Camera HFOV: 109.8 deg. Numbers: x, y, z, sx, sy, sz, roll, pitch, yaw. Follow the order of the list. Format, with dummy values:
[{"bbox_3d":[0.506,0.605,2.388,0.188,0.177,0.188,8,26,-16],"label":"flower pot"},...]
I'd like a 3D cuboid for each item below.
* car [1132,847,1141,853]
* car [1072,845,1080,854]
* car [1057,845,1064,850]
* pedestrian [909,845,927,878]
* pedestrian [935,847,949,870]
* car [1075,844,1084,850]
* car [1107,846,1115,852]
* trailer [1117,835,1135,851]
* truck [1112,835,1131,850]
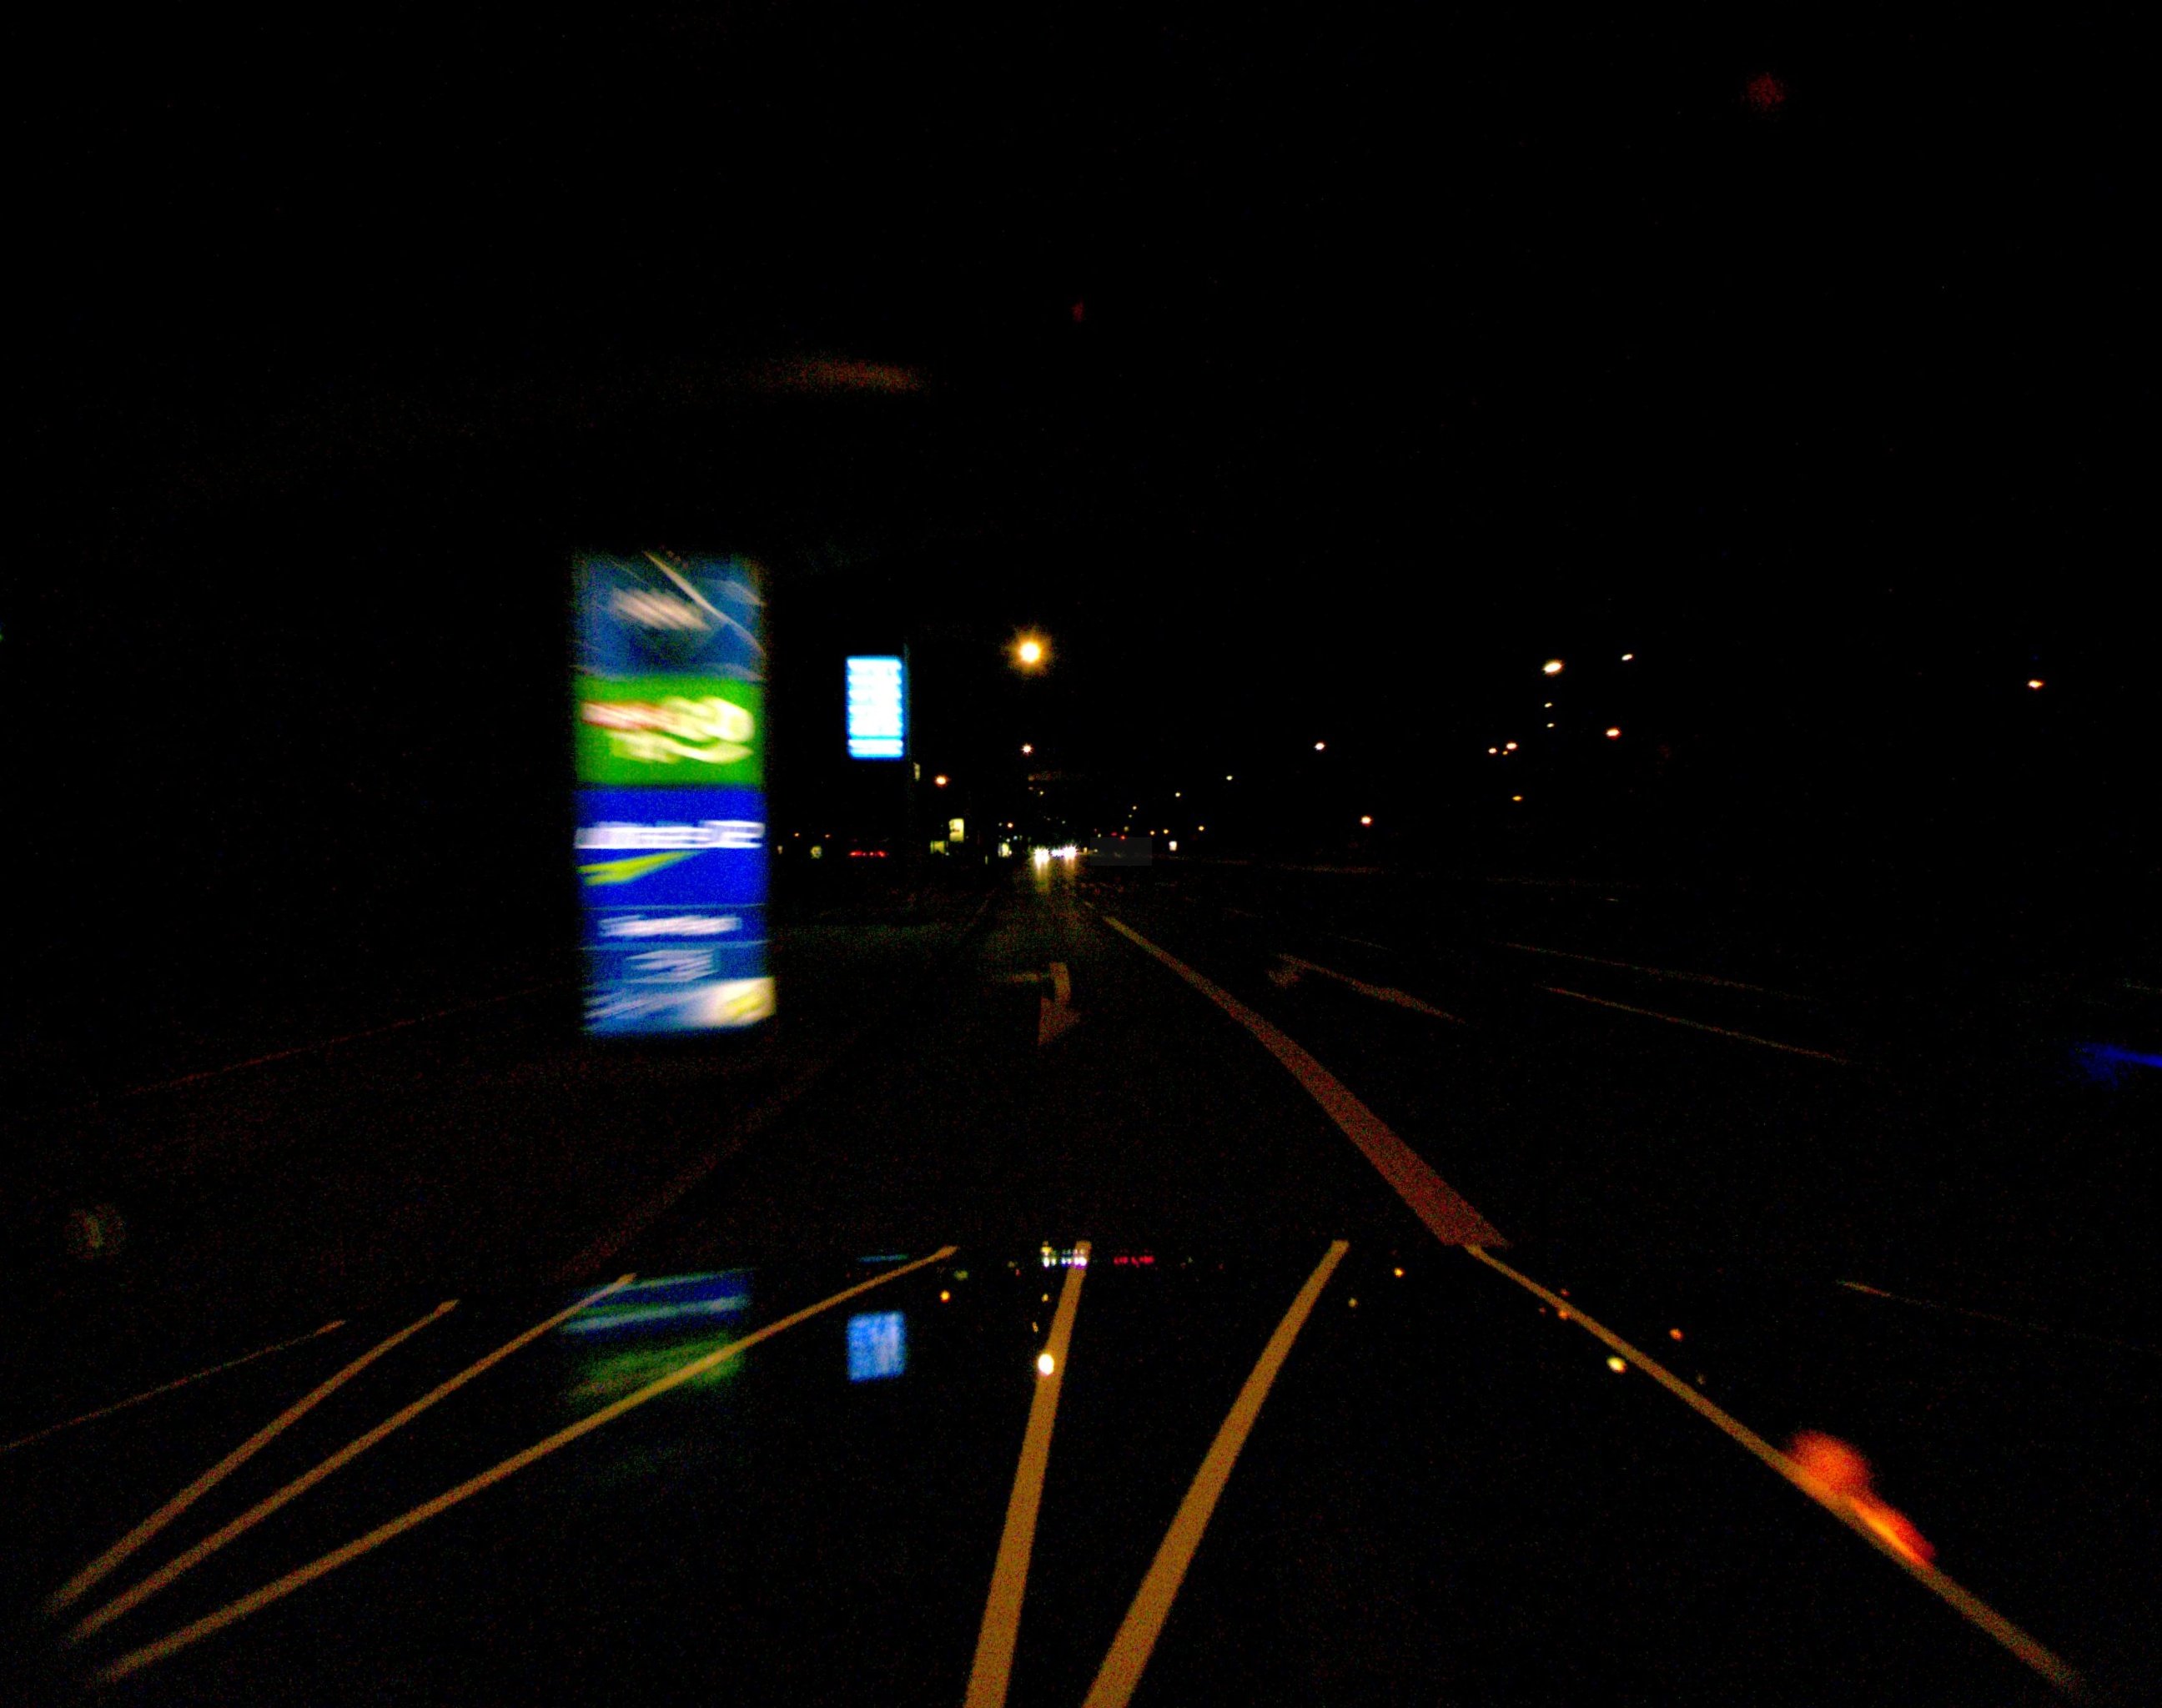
[{"bbox_3d":[15.284,-1.047,208.343,1.992,1.473,4.201,0,1,-3],"label":"car"},{"bbox_3d":[-1.231,-1.199,185.192,1.794,2.002,3.999,-3,2,3],"label":"car"},{"bbox_3d":[-5.853,-1.778,216.168,1.992,1.473,4.201,0,1,-3],"label":"car"},{"bbox_3d":[-9.672,0.428,45.201,0.806,1.902,0.793,1,1,5],"label":"pedestrian"},{"bbox_3d":[-10.463,0.357,57.287,0.855,1.697,0.956,2,2,-4],"label":"pedestrian"},{"bbox_3d":[-0.339,-1.800,185.304,1.992,1.473,4.201,0,1,-3],"label":"car"},{"bbox_3d":[9.080,-1.562,229.878,1.809,1.490,4.082,-2,2,-5],"label":"car"},{"bbox_3d":[11.837,-3.072,202.158,3.706,3.967,8.390,-3,2,-3],"label":"trailer"},{"bbox_3d":[11.217,-3.266,211.576,3.691,3.932,10.414,-3,2,-4],"label":"truck"}]
